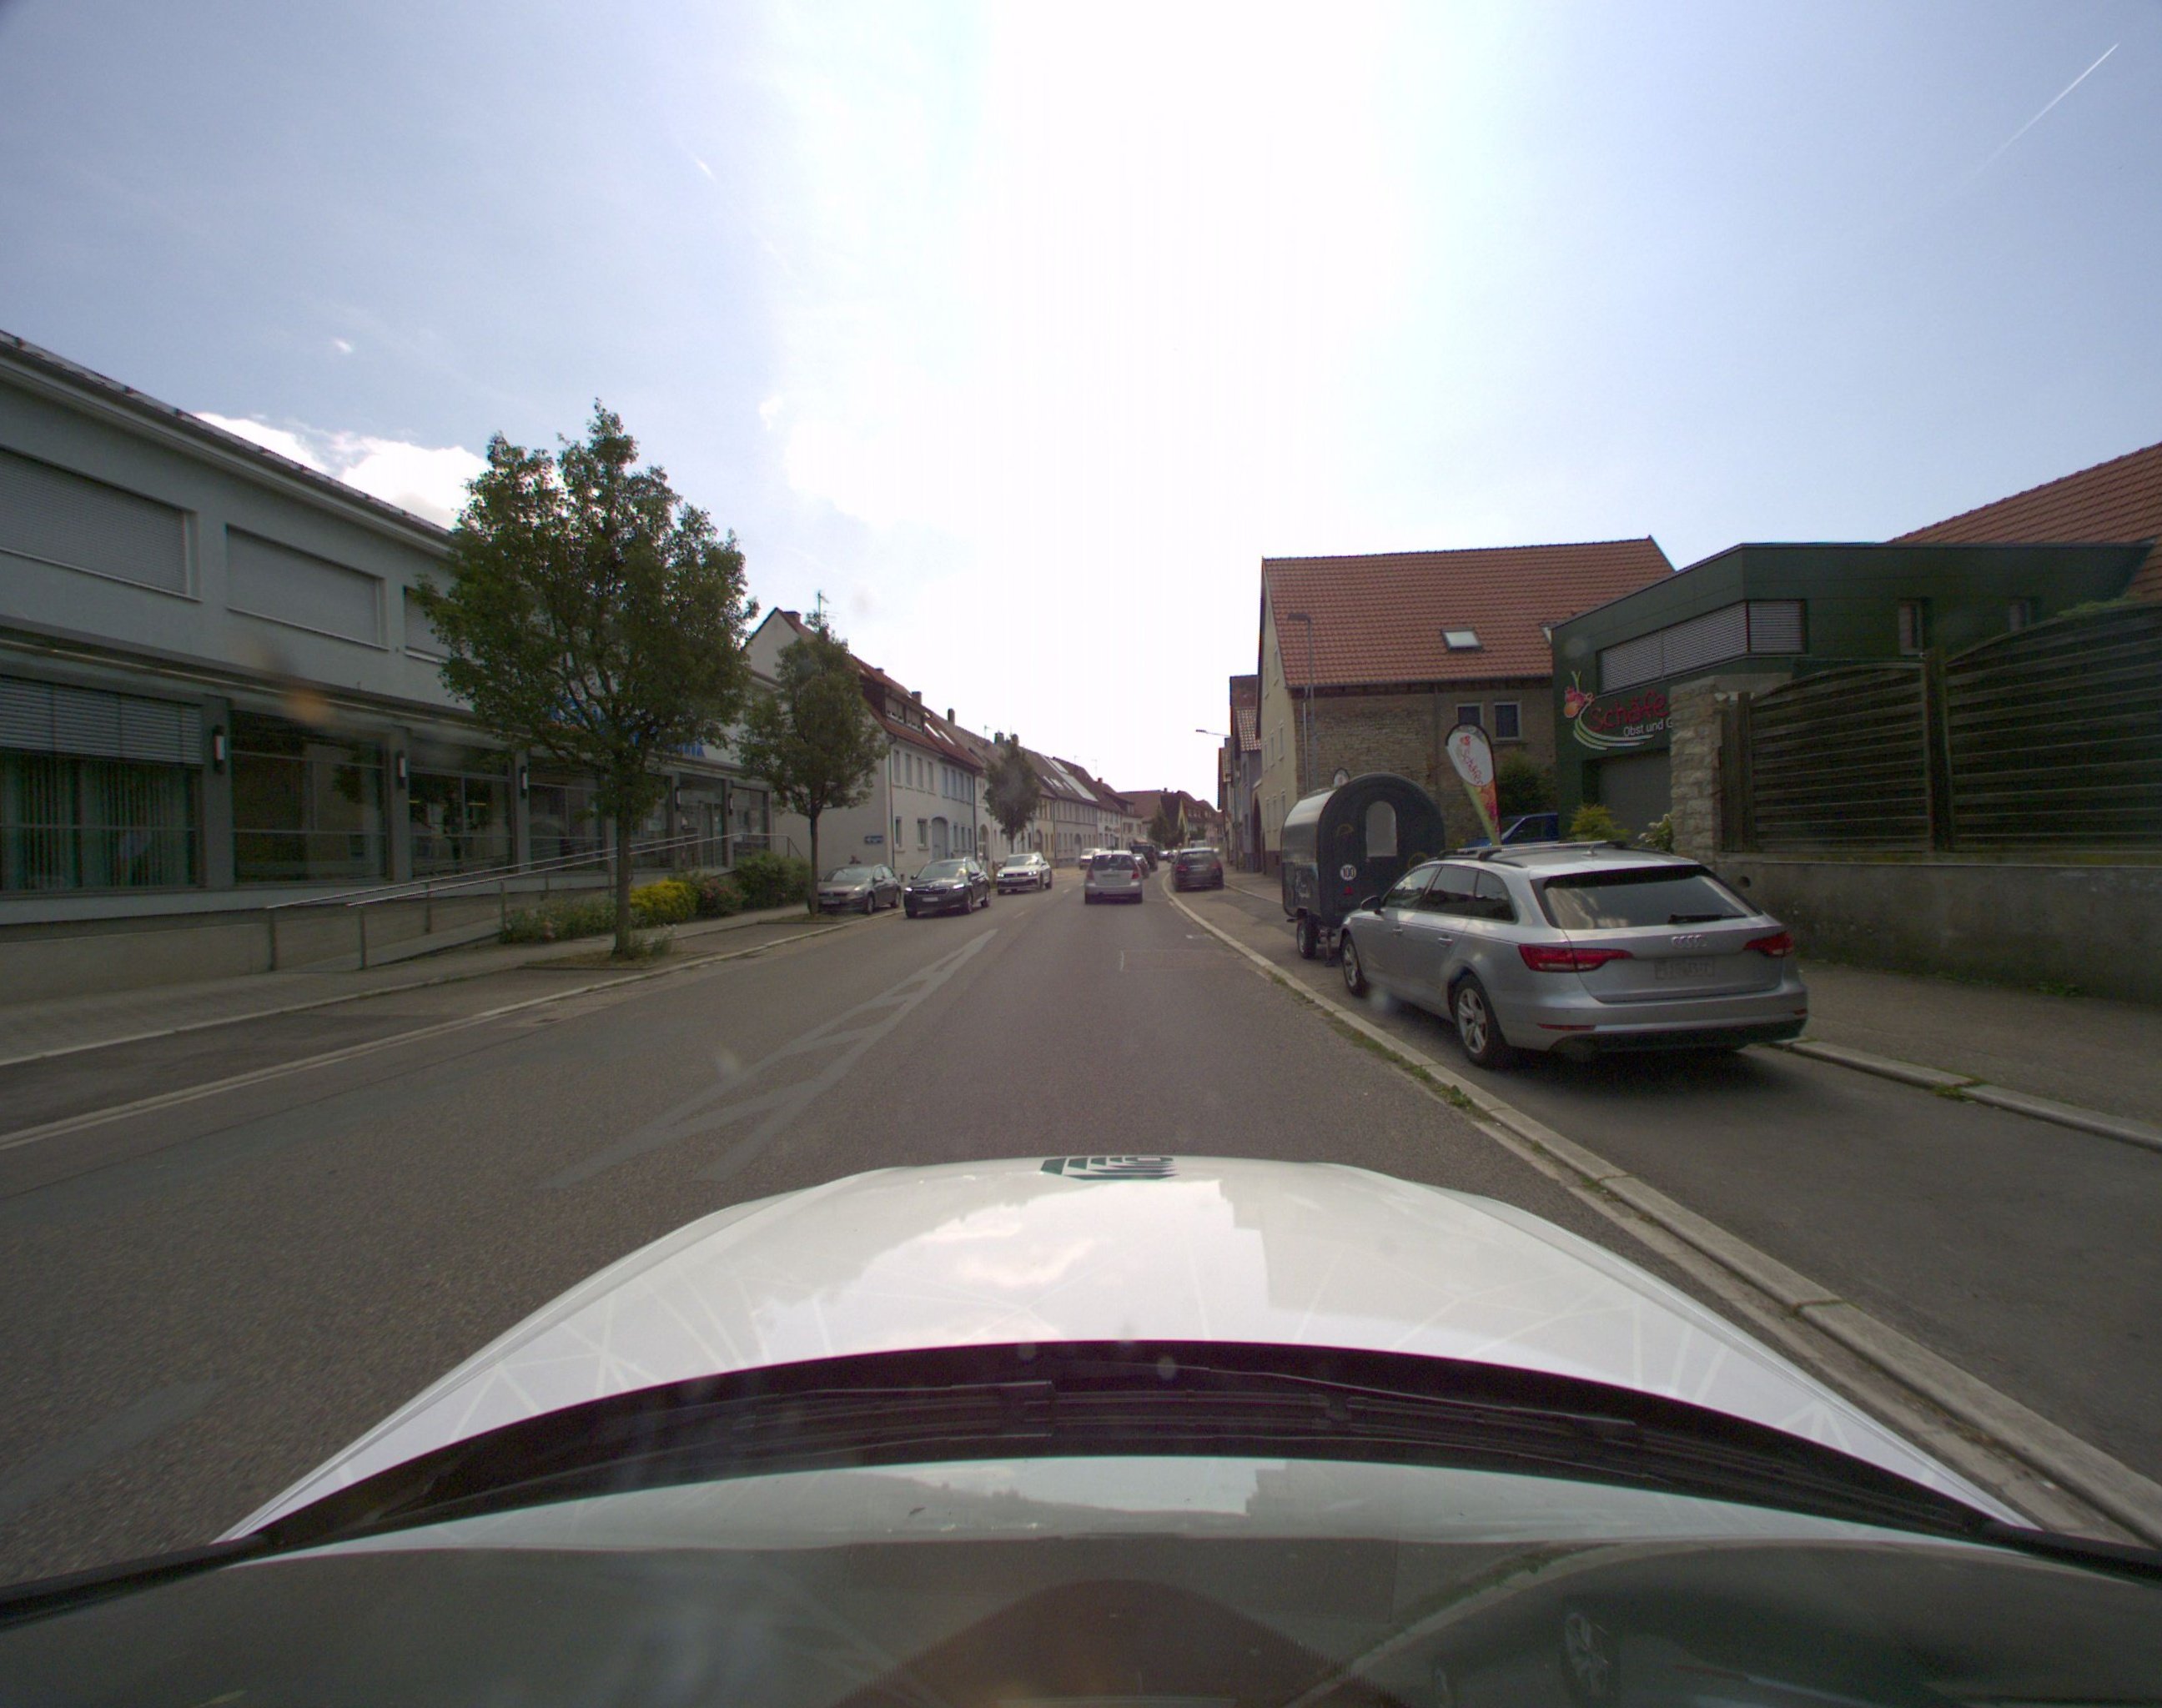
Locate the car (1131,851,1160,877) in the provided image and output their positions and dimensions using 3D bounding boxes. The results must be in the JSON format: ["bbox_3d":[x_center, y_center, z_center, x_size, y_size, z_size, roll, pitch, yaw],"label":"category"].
[{"bbox_3d":[4.899,0.748,61.643,1.758,1.888,4.458,0,0,9],"label":"car"}]

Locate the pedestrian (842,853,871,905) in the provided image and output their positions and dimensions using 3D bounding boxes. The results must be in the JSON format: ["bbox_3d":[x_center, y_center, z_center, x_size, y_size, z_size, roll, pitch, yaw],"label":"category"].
[{"bbox_3d":[-8.038,0.897,29.180,0.736,1.801,0.643,-3,-1,1],"label":"pedestrian"}]

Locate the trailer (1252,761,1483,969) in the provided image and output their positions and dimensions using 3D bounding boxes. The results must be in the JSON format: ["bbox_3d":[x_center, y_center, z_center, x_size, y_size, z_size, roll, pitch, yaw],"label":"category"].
[{"bbox_3d":[3.744,0.120,11.359,1.839,2.354,3.588,-3,0,-1],"label":"trailer"}]

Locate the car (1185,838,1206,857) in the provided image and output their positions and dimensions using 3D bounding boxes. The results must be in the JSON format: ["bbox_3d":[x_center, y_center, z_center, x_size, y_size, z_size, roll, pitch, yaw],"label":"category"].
[{"bbox_3d":[14.223,-0.786,101.321,2.221,2.222,4.012,-3,-1,11],"label":"car"}]

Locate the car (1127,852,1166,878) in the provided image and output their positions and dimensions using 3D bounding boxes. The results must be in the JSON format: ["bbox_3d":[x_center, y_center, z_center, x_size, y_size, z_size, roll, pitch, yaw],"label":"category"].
[{"bbox_3d":[3.780,0.637,46.380,1.934,1.407,4.009,0,0,8],"label":"car"}]

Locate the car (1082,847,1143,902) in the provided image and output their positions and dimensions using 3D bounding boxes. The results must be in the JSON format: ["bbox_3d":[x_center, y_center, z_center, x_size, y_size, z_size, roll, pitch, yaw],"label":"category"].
[{"bbox_3d":[0.933,0.604,25.849,1.763,1.594,3.999,0,0,0],"label":"car"}]

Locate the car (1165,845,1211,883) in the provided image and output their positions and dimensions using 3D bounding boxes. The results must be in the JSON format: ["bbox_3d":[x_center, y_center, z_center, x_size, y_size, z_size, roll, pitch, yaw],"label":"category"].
[{"bbox_3d":[4.806,0.441,36.965,1.852,1.531,4.202,-3,-1,5],"label":"car"}]

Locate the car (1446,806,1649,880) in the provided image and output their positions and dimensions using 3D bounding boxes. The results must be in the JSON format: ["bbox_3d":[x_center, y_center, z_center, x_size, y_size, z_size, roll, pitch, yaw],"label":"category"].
[{"bbox_3d":[14.089,-0.328,24.768,5.038,1.950,1.998,-2,0,-3],"label":"car"}]

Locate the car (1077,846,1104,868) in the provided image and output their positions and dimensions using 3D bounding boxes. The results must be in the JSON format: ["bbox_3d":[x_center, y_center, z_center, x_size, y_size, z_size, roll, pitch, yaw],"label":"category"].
[{"bbox_3d":[0.926,0.247,75.635,2.081,1.884,4.007,-2,0,6],"label":"car"}]

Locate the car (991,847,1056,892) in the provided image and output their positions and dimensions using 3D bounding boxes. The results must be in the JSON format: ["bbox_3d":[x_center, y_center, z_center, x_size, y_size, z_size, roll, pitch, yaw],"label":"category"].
[{"bbox_3d":[-2.366,0.599,34.672,1.945,1.784,4.659,-1,0,6],"label":"car"}]

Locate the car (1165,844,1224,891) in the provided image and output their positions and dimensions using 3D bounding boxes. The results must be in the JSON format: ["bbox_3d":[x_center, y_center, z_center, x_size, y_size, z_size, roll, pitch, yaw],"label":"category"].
[{"bbox_3d":[4.293,0.471,31.034,1.983,1.559,4.009,-4,0,7],"label":"car"}]

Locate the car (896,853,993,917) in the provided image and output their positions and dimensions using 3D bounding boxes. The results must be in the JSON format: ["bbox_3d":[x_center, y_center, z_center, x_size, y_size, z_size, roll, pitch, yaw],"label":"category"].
[{"bbox_3d":[-3.746,0.803,23.101,1.735,1.526,4.023,-4,0,4],"label":"car"}]

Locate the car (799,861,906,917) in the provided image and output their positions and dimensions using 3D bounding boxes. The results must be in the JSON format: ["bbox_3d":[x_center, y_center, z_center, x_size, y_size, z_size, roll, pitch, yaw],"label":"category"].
[{"bbox_3d":[-6.756,0.977,24.559,1.796,1.460,4.162,-1,0,4],"label":"car"}]

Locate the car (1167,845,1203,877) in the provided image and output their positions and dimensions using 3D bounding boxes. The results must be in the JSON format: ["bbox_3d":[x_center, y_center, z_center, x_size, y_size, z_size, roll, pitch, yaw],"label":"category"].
[{"bbox_3d":[5.953,0.395,46.187,1.850,1.626,4.206,-3,-1,8],"label":"car"}]

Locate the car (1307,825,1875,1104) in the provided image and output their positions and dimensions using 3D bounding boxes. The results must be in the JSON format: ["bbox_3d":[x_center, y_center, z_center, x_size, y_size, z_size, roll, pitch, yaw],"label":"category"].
[{"bbox_3d":[3.519,0.617,6.920,1.869,1.481,4.674,-3,0,0],"label":"car"}]

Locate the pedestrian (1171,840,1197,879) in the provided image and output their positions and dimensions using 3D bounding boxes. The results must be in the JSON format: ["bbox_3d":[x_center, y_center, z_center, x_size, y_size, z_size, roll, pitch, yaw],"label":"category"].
[{"bbox_3d":[5.048,0.248,39.839,1.087,1.821,1.475,-2,0,13],"label":"pedestrian"}]
